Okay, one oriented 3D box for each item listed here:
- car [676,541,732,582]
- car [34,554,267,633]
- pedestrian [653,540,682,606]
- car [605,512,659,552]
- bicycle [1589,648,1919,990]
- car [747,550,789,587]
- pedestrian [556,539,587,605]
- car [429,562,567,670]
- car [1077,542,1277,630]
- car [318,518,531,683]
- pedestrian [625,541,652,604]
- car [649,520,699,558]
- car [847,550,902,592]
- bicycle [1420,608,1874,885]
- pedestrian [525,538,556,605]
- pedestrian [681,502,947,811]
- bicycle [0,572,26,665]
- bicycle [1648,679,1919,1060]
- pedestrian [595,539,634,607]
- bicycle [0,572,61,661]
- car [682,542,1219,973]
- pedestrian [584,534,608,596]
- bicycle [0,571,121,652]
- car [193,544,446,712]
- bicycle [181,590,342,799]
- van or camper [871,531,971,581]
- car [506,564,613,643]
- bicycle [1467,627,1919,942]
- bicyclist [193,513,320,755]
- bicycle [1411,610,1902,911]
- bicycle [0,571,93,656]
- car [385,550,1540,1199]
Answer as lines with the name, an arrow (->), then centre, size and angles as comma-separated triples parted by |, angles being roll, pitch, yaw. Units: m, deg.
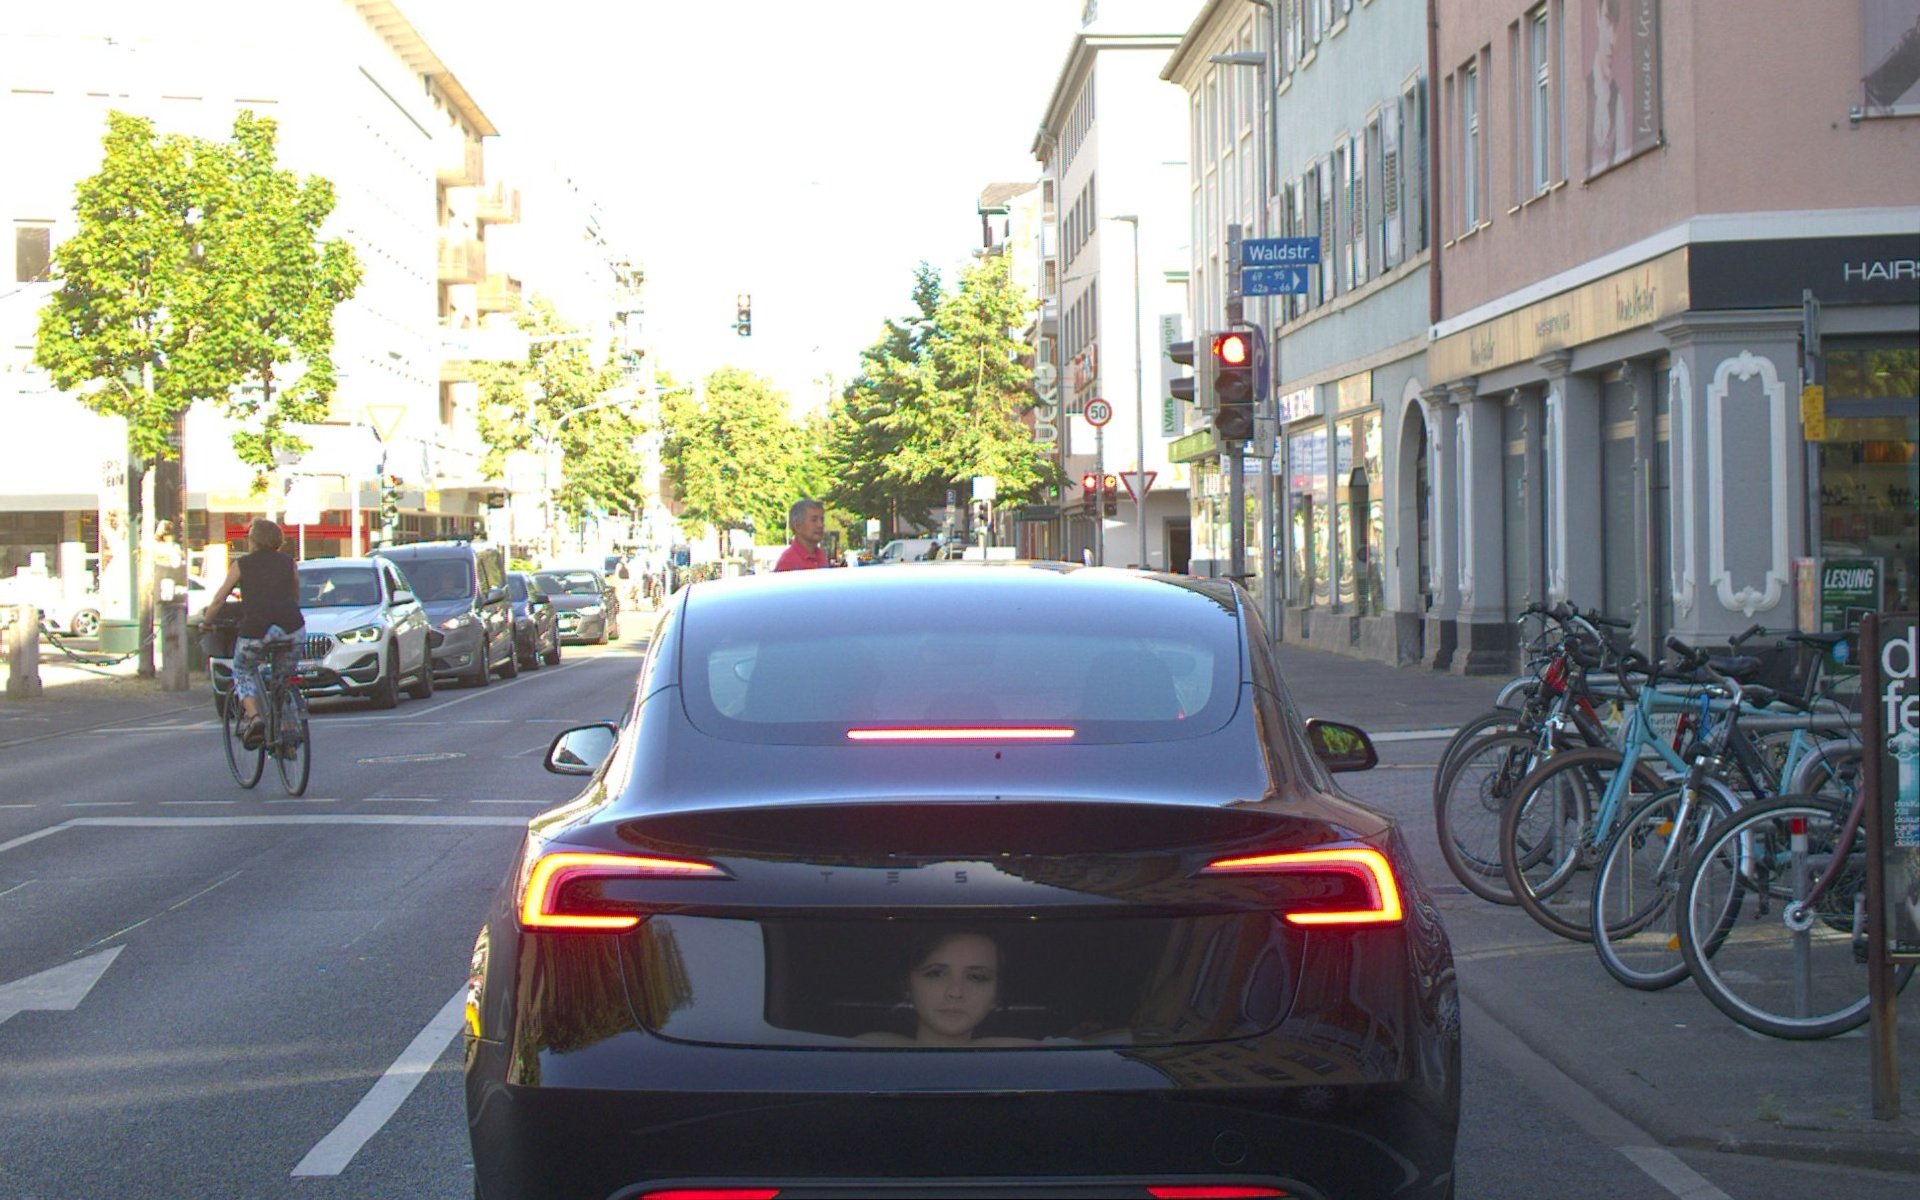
car -> -12.395, -1.866, 166.454 | 2.414, 1.963, 4.678 | 0, 1, -1
car -> -17.949, -0.151, 76.247 | 4.697, 1.425, 1.736 | -4, 1, -24
pedestrian -> -8.421, -0.781, 99.040 | 0.774, 1.861, 1.009 | 1, 0, -6
car -> -17.125, -3.532, 179.645 | 2.275, 2.007, 4.717 | 1, 1, 1
bicycle -> 3.000, 0.694, 11.125 | 1.813, 1.056, 0.653 | 0, 1, 1
car -> -10.442, -1.737, 187.137 | 2.132, 1.963, 4.134 | 0, 1, -1
pedestrian -> -10.992, -0.799, 97.274 | 0.732, 1.861, 0.791 | 1, 0, -17
car -> -6.654, 0.208, 49.800 | 1.461, 1.425, 3.606 | -4, 1, -1
car -> 4.708, -0.321, 74.678 | 3.992, 1.861, 1.698 | 0, 1, -21
car -> -6.573, -0.033, 42.666 | 1.945, 1.940, 4.820 | 0, 1, -1
pedestrian -> -9.596, -0.833, 102.569 | 0.694, 1.861, 0.910 | 1, 0, -11
car -> -15.649, -3.351, 188.284 | 2.275, 2.007, 4.717 | 1, 1, 1
car -> -3.693, -1.259, 148.642 | 2.035, 1.782, 4.006 | 0, 1, 4
bicycle -> 2.923, 0.614, 14.739 | 1.813, 1.148, 0.653 | 0, 1, 1
pedestrian -> -11.831, -0.808, 96.985 | 0.732, 1.861, 0.791 | 1, 0, -17
pedestrian -> -0.834, 0.305, 19.806 | 1.111, 1.714, 1.060 | 1, 0, 30
bicycle -> -14.487, 0.238, 47.549 | 2.875, 1.266, 0.943 | 1, 0, -3
bicycle -> 3.026, 0.761, 10.053 | 1.882, 1.040, 0.653 | -1, 1, 1
pedestrian -> -9.504, -0.752, 94.634 | 0.734, 1.861, 0.789 | 1, 0, 28
bicycle -> -14.488, 0.221, 49.868 | 2.662, 1.255, 0.943 | 1, 0, -3
car -> -0.060, 0.526, 14.201 | 1.850, 1.476, 4.452 | 1, 1, -1
pedestrian -> -10.996, -1.070, 103.881 | 0.695, 1.861, 0.659 | 1, 0, -5
bicycle -> -14.695, 0.166, 54.568 | 2.542, 1.247, 0.943 | 1, 0, -3
car -> -6.687, 0.257, 36.343 | 1.825, 1.559, 4.301 | -4, 1, -1
bicycle -> -4.375, 0.560, 21.444 | 0.627, 1.219, 2.001 | -1, 1, -22
van or camper -> -1.901, -2.129, 167.551 | 4.850, 2.430, 1.851 | 0, 1, -1
car -> -7.349, 0.043, 63.301 | 1.693, 1.385, 3.916 | 1, 1, -3
bicycle -> 2.800, 0.658, 12.531 | 1.813, 1.098, 0.653 | 0, 1, 1
bicyclist -> -4.414, 0.201, 21.539 | 0.606, 1.479, 0.958 | 1, 0, -21
bicycle -> 2.731, 0.622, 13.605 | 1.813, 1.148, 0.653 | 0, 1, 1
bicycle -> -14.534, 0.193, 52.143 | 2.542, 1.247, 0.943 | 1, 0, -3
car -> -0.024, 0.630, 7.777 | 1.850, 1.442, 4.452 | 1, 1, -1
